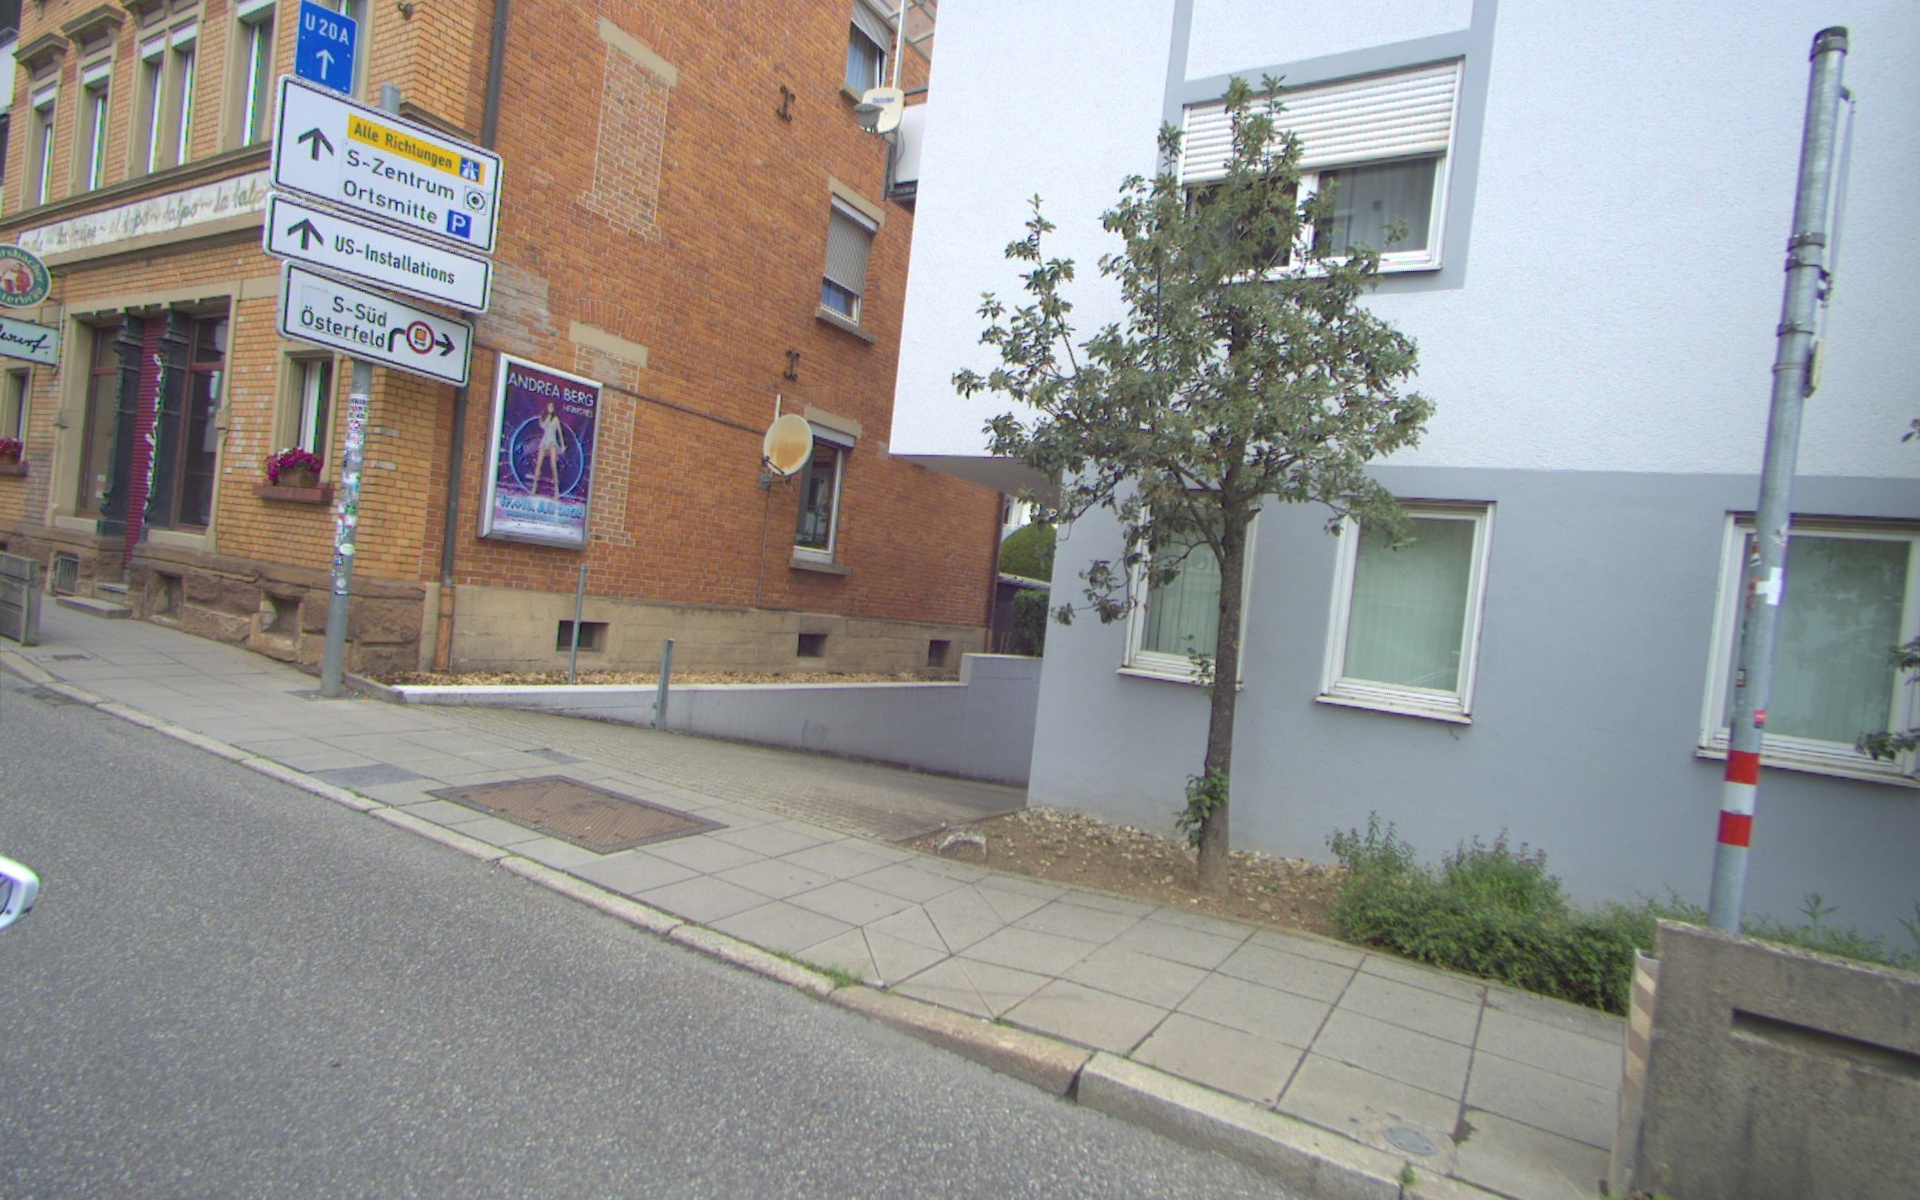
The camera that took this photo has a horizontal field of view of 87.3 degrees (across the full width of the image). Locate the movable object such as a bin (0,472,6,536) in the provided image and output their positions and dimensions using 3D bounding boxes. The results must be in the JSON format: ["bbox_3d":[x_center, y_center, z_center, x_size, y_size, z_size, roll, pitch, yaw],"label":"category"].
[{"bbox_3d":[-24.779,-2.458,25.404,0.720,1.611,0.821,6,3,32],"label":"movable object such as a bin"}]
